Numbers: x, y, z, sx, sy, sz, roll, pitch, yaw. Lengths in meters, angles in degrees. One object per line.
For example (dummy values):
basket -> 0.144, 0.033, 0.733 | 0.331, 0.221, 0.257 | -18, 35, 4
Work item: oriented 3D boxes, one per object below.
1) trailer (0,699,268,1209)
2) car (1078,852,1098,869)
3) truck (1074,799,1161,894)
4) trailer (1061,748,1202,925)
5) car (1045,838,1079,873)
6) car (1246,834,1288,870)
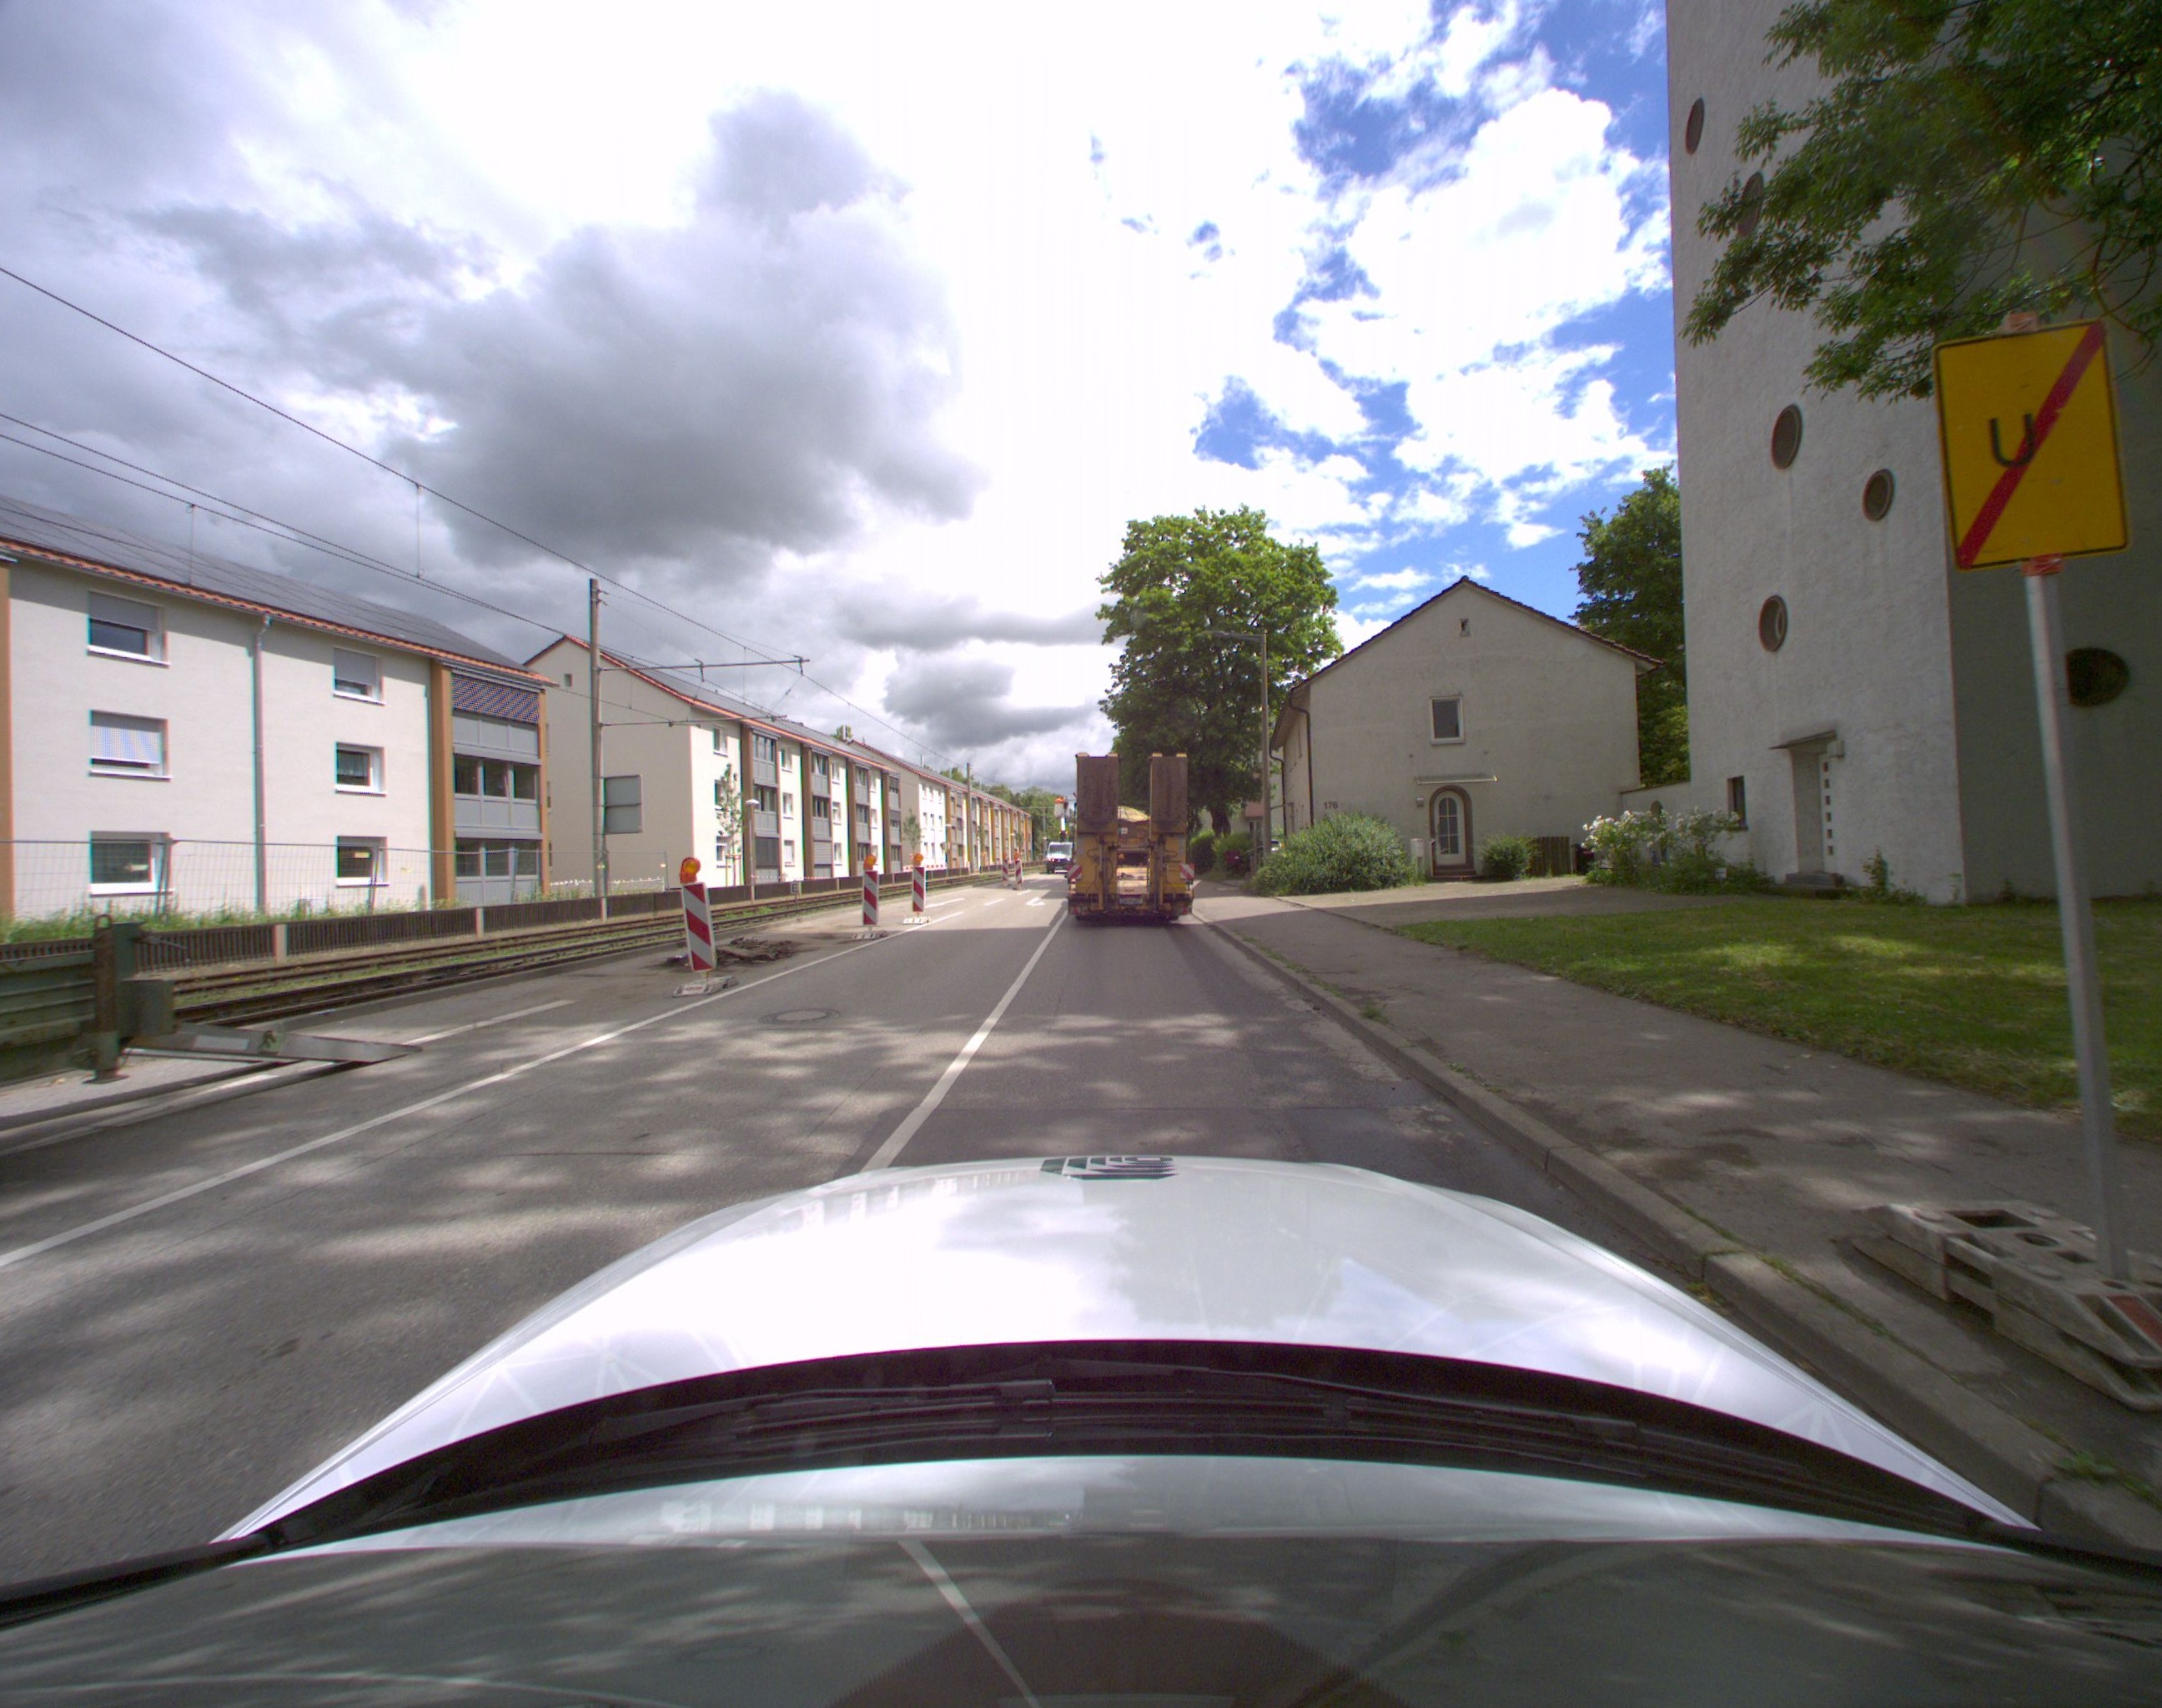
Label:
trailer -> -6.081, 0.461, 1.549 | 2.652, 2.214, 6.250 | -1, 0, 2
car -> 0.709, 0.577, 77.402 | 1.711, 1.552, 3.920 | -1, 0, 3
truck -> 1.275, -0.248, 31.135 | 2.907, 3.167, 7.680 | 0, 0, 1
trailer -> 1.106, -0.363, 21.772 | 2.813, 3.524, 11.053 | 0, 0, 1
car -> -1.374, 0.105, 60.966 | 1.985, 2.430, 6.328 | -1, 0, 4
car -> 9.190, -0.089, 40.497 | 1.800, 1.649, 4.012 | -3, -1, 11
